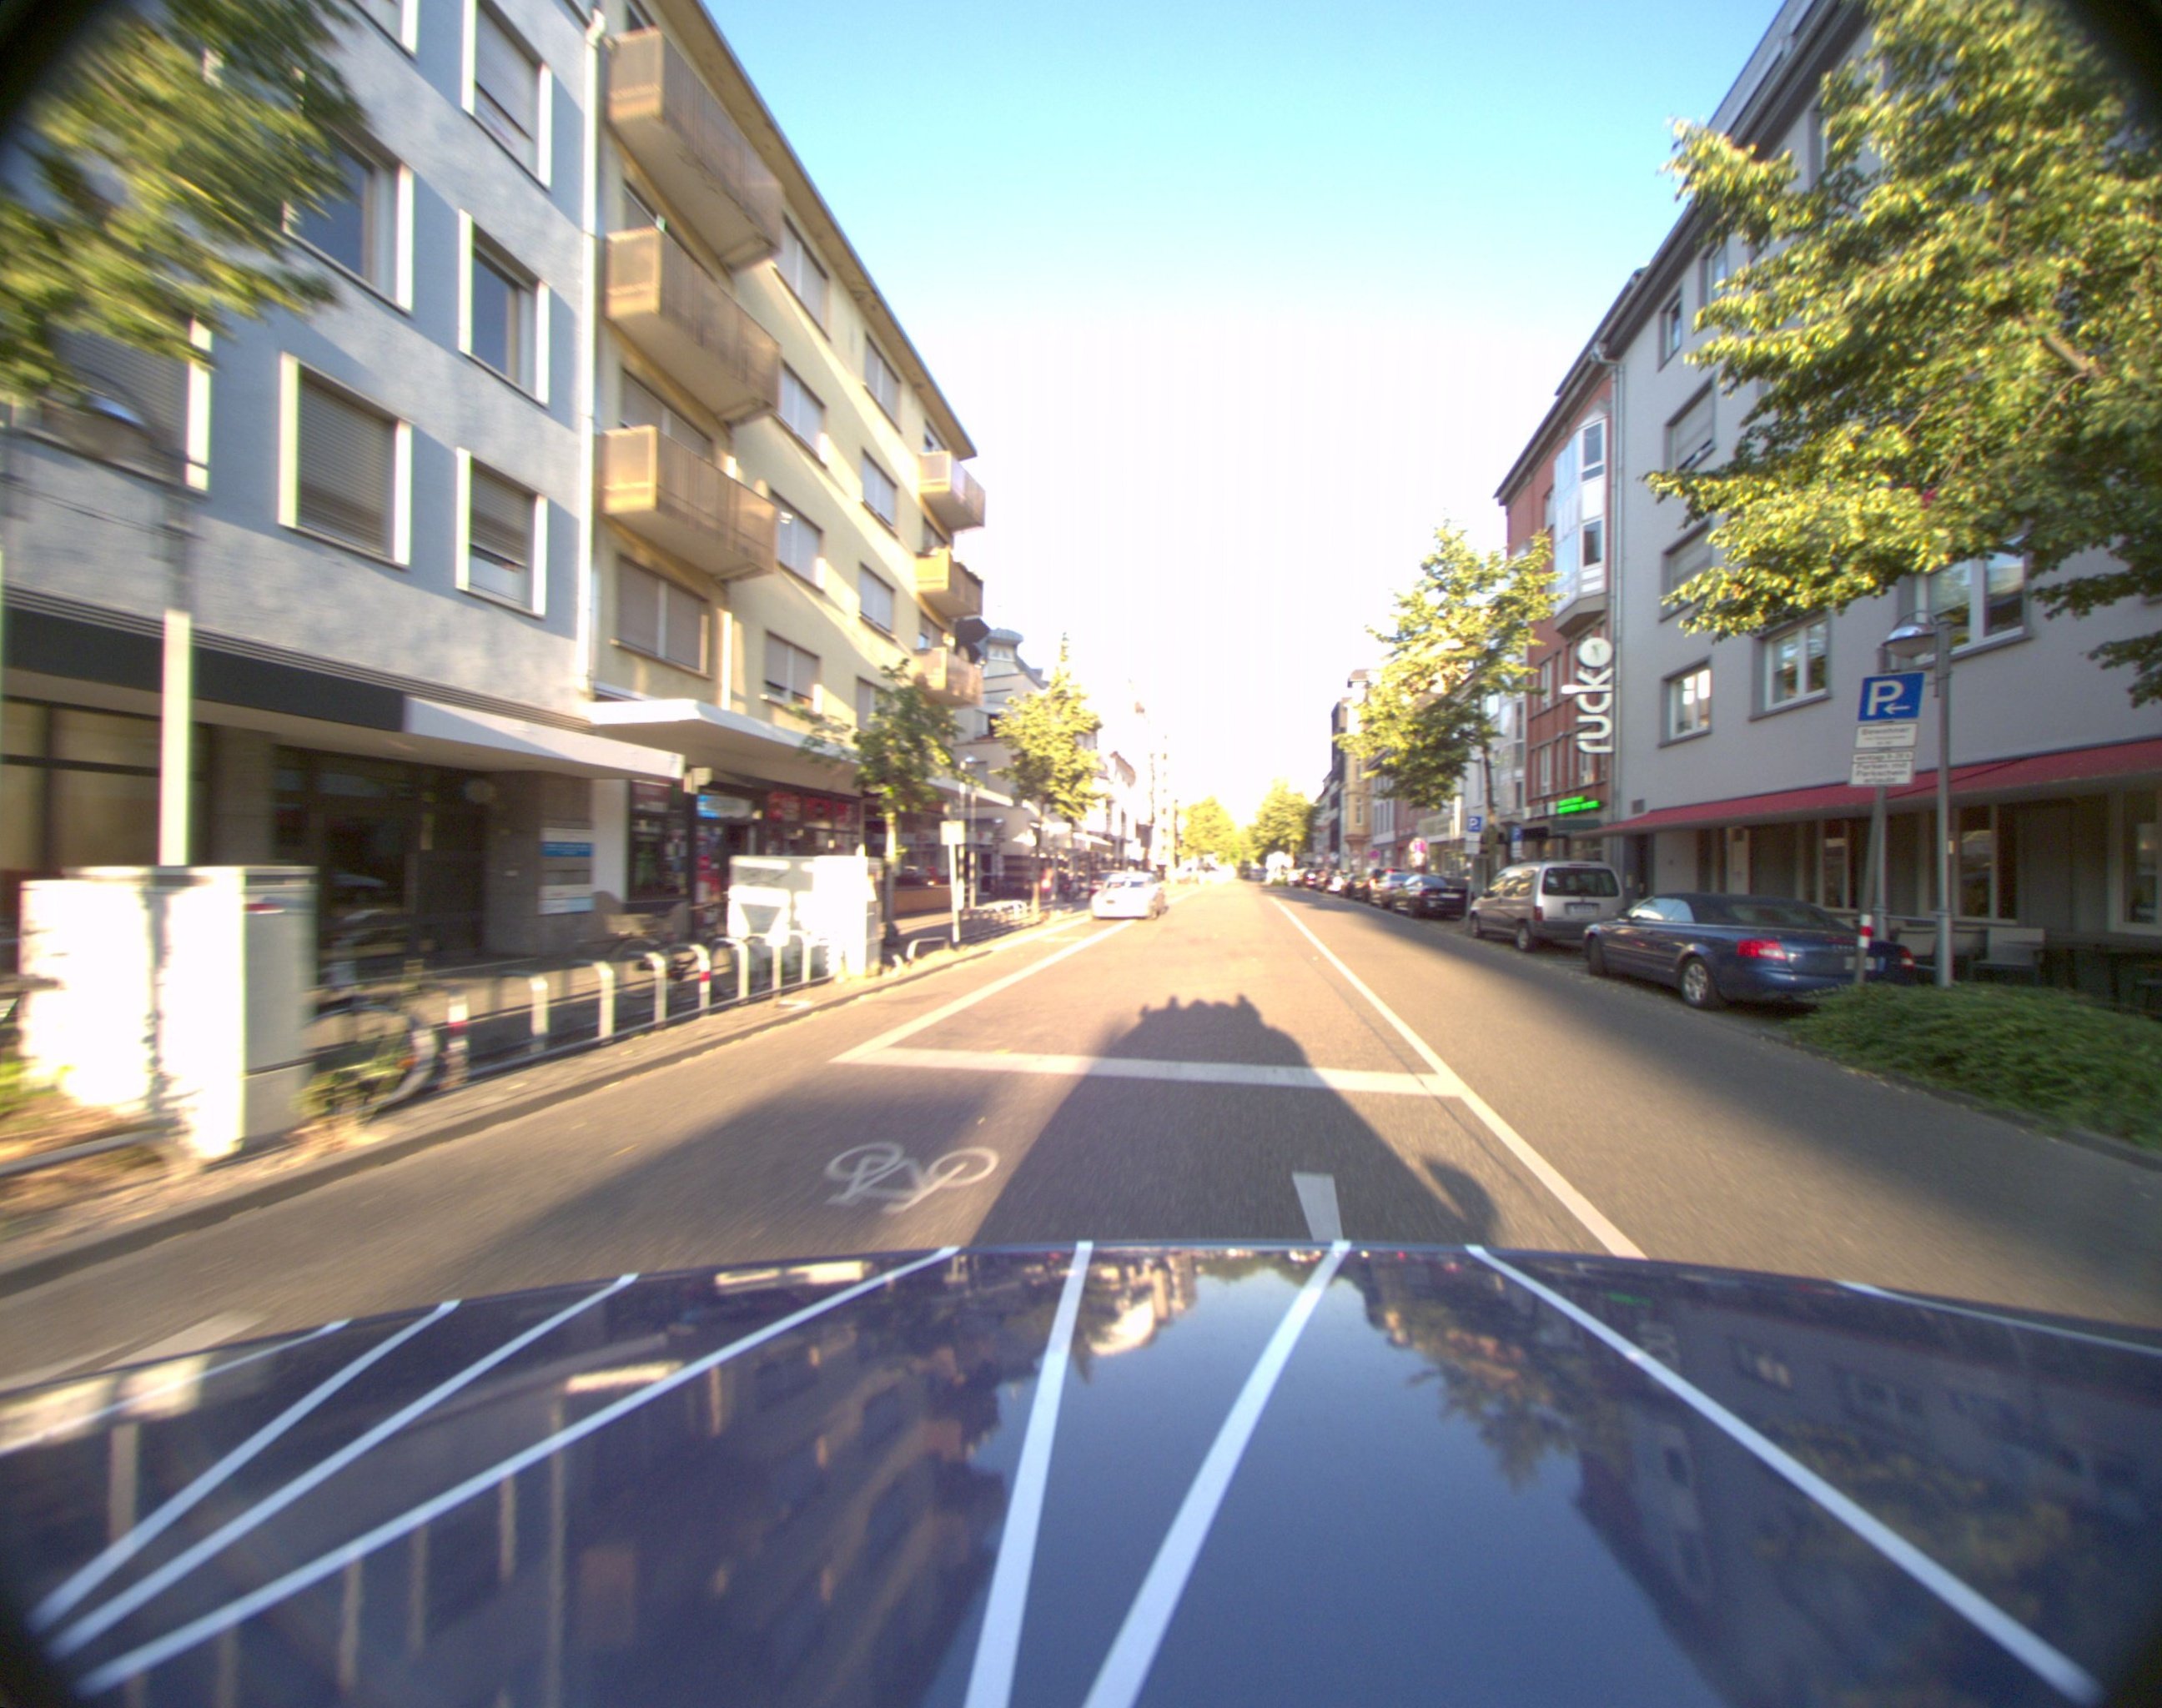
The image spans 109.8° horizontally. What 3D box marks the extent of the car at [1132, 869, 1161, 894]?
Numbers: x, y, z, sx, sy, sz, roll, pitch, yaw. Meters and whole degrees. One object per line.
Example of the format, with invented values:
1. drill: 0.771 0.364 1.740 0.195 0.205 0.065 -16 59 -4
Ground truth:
1. car: 4.372 1.812 50.572 1.570 1.540 2.806 2 -1 11

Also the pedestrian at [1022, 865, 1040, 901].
1. pedestrian: -2.150 1.236 32.801 0.540 1.521 0.652 1 0 17

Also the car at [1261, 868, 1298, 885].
1. car: 25.284 2.815 96.865 4.188 1.971 2.058 2 0 6

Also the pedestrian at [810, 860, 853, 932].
1. pedestrian: -5.881 0.984 17.949 0.643 1.649 0.778 -1 -1 12

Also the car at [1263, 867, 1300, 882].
1. car: 24.213 2.469 91.832 4.128 1.666 1.998 2 0 8

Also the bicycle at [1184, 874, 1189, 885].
1. bicycle: 9.934 2.376 71.674 0.469 0.952 1.920 1 -1 7

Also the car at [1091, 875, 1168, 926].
1. car: 1.605 1.383 23.571 1.803 1.369 4.556 -1 -1 11

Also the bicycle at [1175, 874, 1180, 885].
1. bicycle: 9.118 2.391 71.668 0.469 0.952 1.920 1 -1 7

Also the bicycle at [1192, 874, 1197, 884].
1. bicycle: 10.692 2.360 71.644 0.469 0.952 1.920 1 -1 7

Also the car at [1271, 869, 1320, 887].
1. car: 20.093 2.223 71.321 4.188 1.572 2.058 2 -1 6

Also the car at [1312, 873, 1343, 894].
1. car: 18.194 2.134 56.242 1.768 1.455 3.871 2 -1 12

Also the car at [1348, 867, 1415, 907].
1. car: 14.749 1.568 37.578 1.997 1.759 5.304 2 -1 10

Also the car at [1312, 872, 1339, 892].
1. car: 19.294 2.194 60.087 1.687 1.455 3.546 2 -1 12

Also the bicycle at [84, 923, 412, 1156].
1. bicycle: -5.107 1.071 4.661 1.915 1.196 0.470 1 0 13

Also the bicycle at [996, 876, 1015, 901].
1. bicycle: -3.267 1.484 32.887 0.391 1.044 1.846 1 -1 8

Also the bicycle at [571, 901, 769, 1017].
1. bicycle: -4.495 1.136 8.365 1.917 1.196 0.470 1 0 1

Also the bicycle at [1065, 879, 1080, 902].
1. bicycle: -0.378 1.609 33.929 0.391 0.950 1.617 1 -1 8

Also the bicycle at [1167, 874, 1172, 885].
1. bicycle: 8.294 2.402 71.506 0.469 0.952 1.920 1 -1 7

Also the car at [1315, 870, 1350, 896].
1. car: 17.214 1.965 52.102 1.768 1.604 4.222 2 -1 12

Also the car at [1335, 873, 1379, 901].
1. car: 15.816 1.859 43.743 1.768 1.502 4.222 2 -1 12

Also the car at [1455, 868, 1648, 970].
1. car: 9.602 1.222 15.948 1.918 1.776 4.151 2 -1 8

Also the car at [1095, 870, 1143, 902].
1. car: 1.867 1.491 36.473 1.725 1.413 4.036 2 -1 11

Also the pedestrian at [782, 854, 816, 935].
1. pedestrian: -6.326 0.908 17.070 0.582 1.772 0.528 -1 -1 -8

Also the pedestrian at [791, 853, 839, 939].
1. pedestrian: -5.704 0.896 16.324 0.709 1.796 0.651 -1 -1 12

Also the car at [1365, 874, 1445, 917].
1. car: 13.004 1.617 30.809 1.996 1.502 5.119 2 -1 12

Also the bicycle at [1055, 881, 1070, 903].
1. bicycle: -0.819 1.690 33.982 0.391 0.951 1.641 1 -1 8

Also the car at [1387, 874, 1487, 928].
1. car: 11.692 1.479 25.276 1.918 1.502 4.644 2 -1 11

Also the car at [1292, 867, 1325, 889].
1. car: 19.432 2.051 64.965 2.053 1.742 4.221 2 -1 8

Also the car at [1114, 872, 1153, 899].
1. car: 3.056 1.784 43.490 1.725 1.413 3.752 2 -1 11

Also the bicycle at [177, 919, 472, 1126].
1. bicycle: -5.152 1.086 5.175 1.915 1.196 0.470 1 0 13

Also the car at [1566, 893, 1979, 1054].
1. car: 8.285 1.291 9.800 1.918 1.378 4.386 2 -1 11

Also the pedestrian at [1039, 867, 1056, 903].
1. pedestrian: -1.443 1.306 32.571 0.540 1.521 0.555 1 0 17
